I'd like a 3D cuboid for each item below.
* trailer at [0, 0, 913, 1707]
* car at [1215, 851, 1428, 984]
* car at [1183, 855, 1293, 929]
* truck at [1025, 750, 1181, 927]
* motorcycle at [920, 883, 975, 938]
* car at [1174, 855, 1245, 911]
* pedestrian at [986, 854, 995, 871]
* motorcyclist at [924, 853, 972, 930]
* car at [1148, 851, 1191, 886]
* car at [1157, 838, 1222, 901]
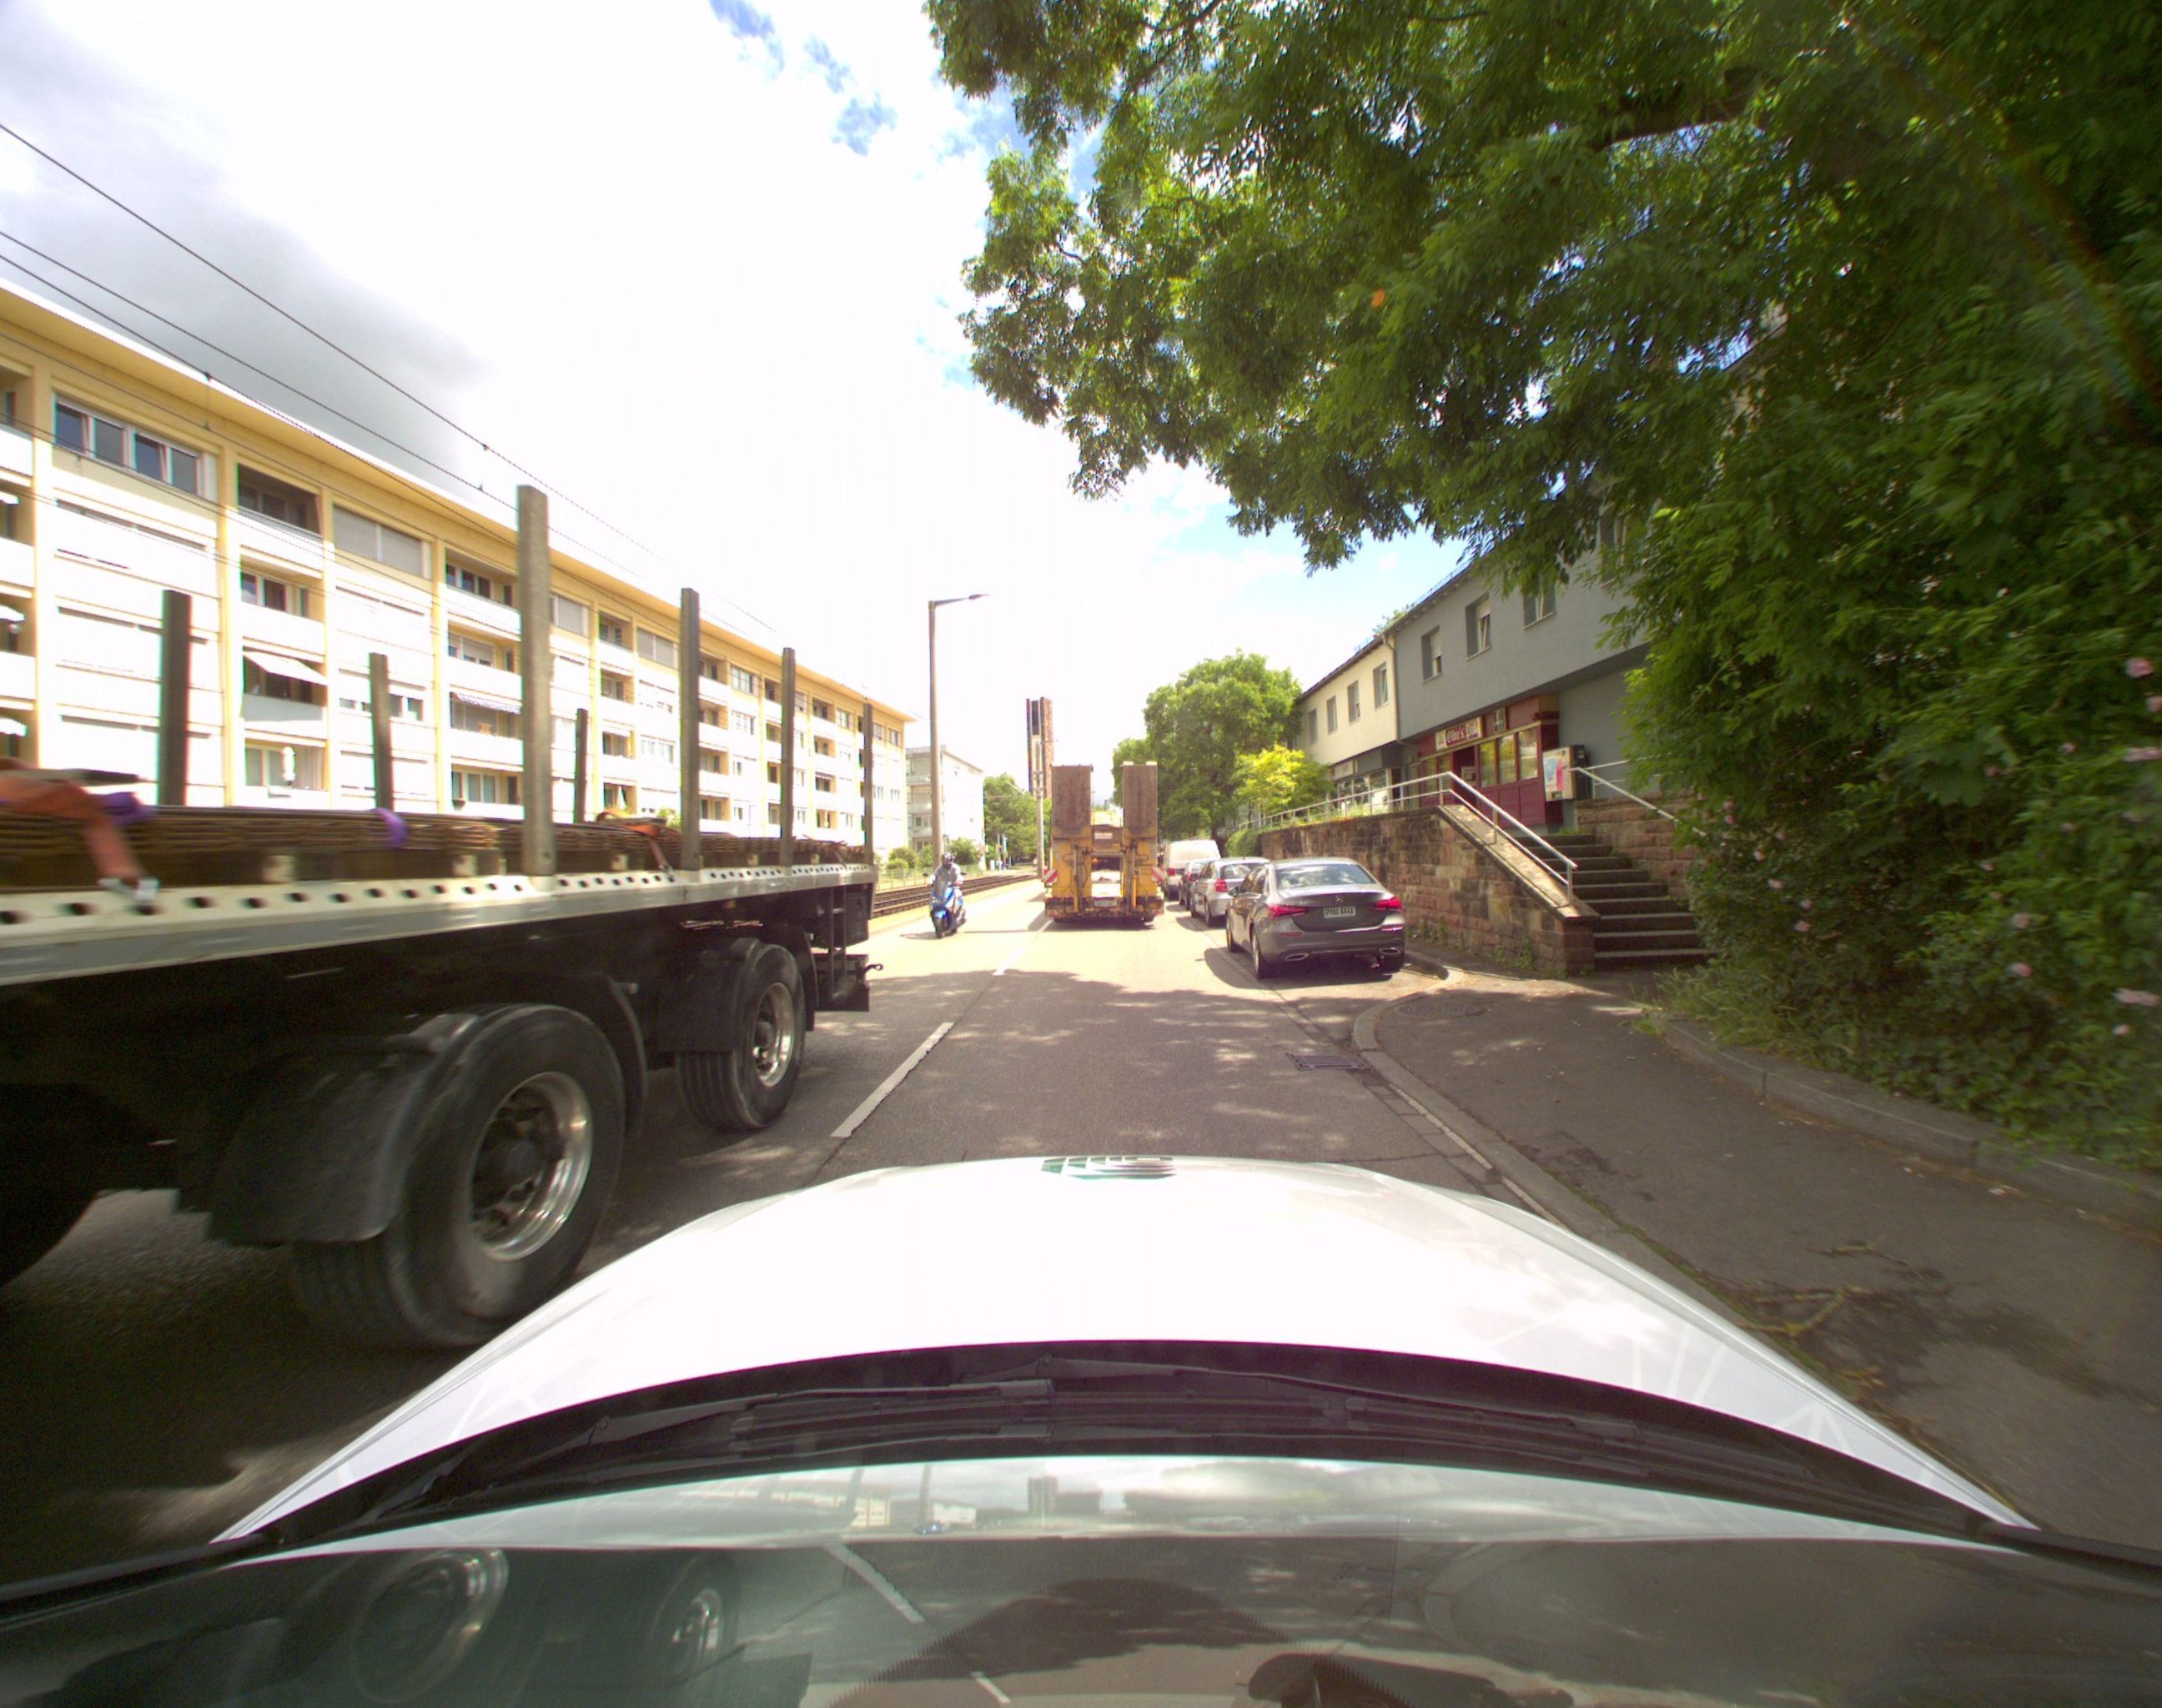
[{"bbox_3d":[-3.043,-0.293,0.145,2.688,3.580,13.681,-1,0,2],"label":"trailer"},{"bbox_3d":[3.059,0.709,11.349,1.828,1.405,4.417,-3,0,3],"label":"car"},{"bbox_3d":[3.425,0.768,18.479,1.684,1.405,4.069,-3,0,1],"label":"car"},{"bbox_3d":[0.556,-0.351,23.058,3.113,3.564,12.461,-2,0,1],"label":"truck"},{"bbox_3d":[-2.627,1.083,16.184,0.744,0.954,1.833,0,0,1],"label":"motorcycle"},{"bbox_3d":[3.651,0.771,23.662,1.614,1.405,3.653,-3,0,3],"label":"car"},{"bbox_3d":[-11.151,1.041,100.719,0.952,2.013,1.174,-2,0,-13],"label":"pedestrian"},{"bbox_3d":[-2.645,0.726,16.234,0.744,1.467,0.888,-2,0,1],"label":"motorcyclist"},{"bbox_3d":[4.391,0.685,40.986,1.792,1.623,4.294,-2,0,2],"label":"car"},{"bbox_3d":[3.771,0.498,29.080,1.792,1.968,4.592,-3,0,2],"label":"car"}]
